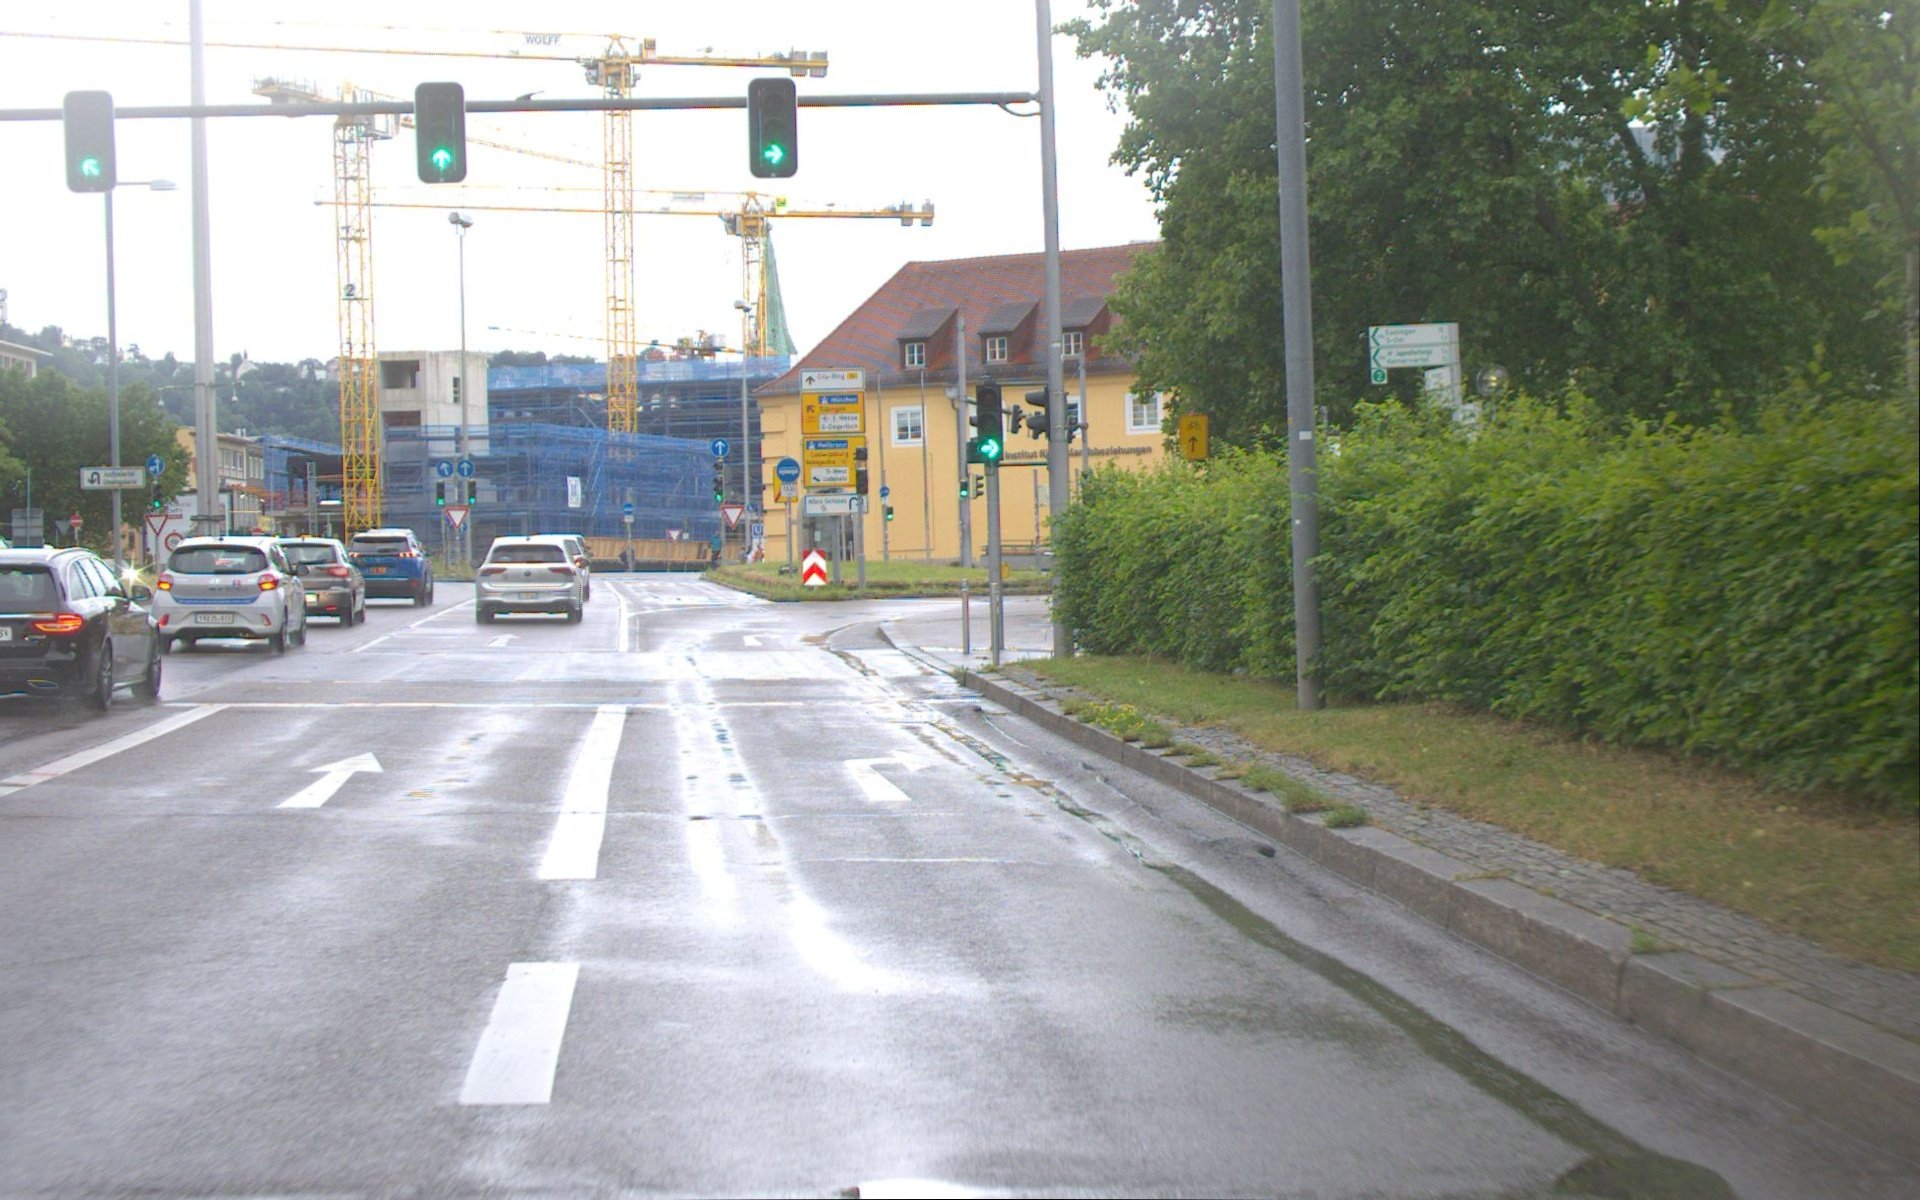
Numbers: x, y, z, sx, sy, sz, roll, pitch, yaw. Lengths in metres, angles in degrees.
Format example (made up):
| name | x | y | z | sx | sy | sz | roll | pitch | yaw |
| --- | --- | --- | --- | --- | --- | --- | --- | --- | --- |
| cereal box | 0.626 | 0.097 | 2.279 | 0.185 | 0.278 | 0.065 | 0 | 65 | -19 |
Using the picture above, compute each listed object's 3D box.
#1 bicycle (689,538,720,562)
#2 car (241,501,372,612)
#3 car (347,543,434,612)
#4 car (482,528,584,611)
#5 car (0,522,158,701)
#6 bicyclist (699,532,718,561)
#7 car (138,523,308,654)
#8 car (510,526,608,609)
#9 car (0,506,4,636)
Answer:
| name | x | y | z | sx | sy | sz | roll | pitch | yaw |
| --- | --- | --- | --- | --- | --- | --- | --- | --- | --- |
| bicycle | -11.463 | -2.233 | 154.053 | 0.880 | 1.006 | 1.993 | 0 | -1 | -20 |
| car | -10.632 | -0.681 | 56.130 | 1.716 | 1.721 | 3.495 | 0 | -1 | -4 |
| car | -11.581 | -0.447 | 70.016 | 1.493 | 1.365 | 3.034 | 0 | -1 | -5 |
| car | -7.125 | -0.494 | 57.509 | 1.444 | 1.354 | 2.412 | 0 | -1 | -1 |
| car | -8.307 | 0.112 | 30.249 | 1.829 | 1.489 | 3.399 | 0 | -1 | -2 |
| bicyclist | -11.242 | -2.372 | 153.697 | 0.703 | 1.271 | 0.635 | 0 | -1 | -20 |
| car | -9.637 | -0.129 | 45.176 | 1.880 | 1.647 | 3.458 | 0 | -1 | -7 |
| car | -8.952 | -0.742 | 76.883 | 1.667 | 1.735 | 3.287 | 1 | 2 | 3 |
| car | -13.093 | -0.391 | 43.439 | 1.464 | 1.700 | 3.142 | 0 | -1 | -6 |
